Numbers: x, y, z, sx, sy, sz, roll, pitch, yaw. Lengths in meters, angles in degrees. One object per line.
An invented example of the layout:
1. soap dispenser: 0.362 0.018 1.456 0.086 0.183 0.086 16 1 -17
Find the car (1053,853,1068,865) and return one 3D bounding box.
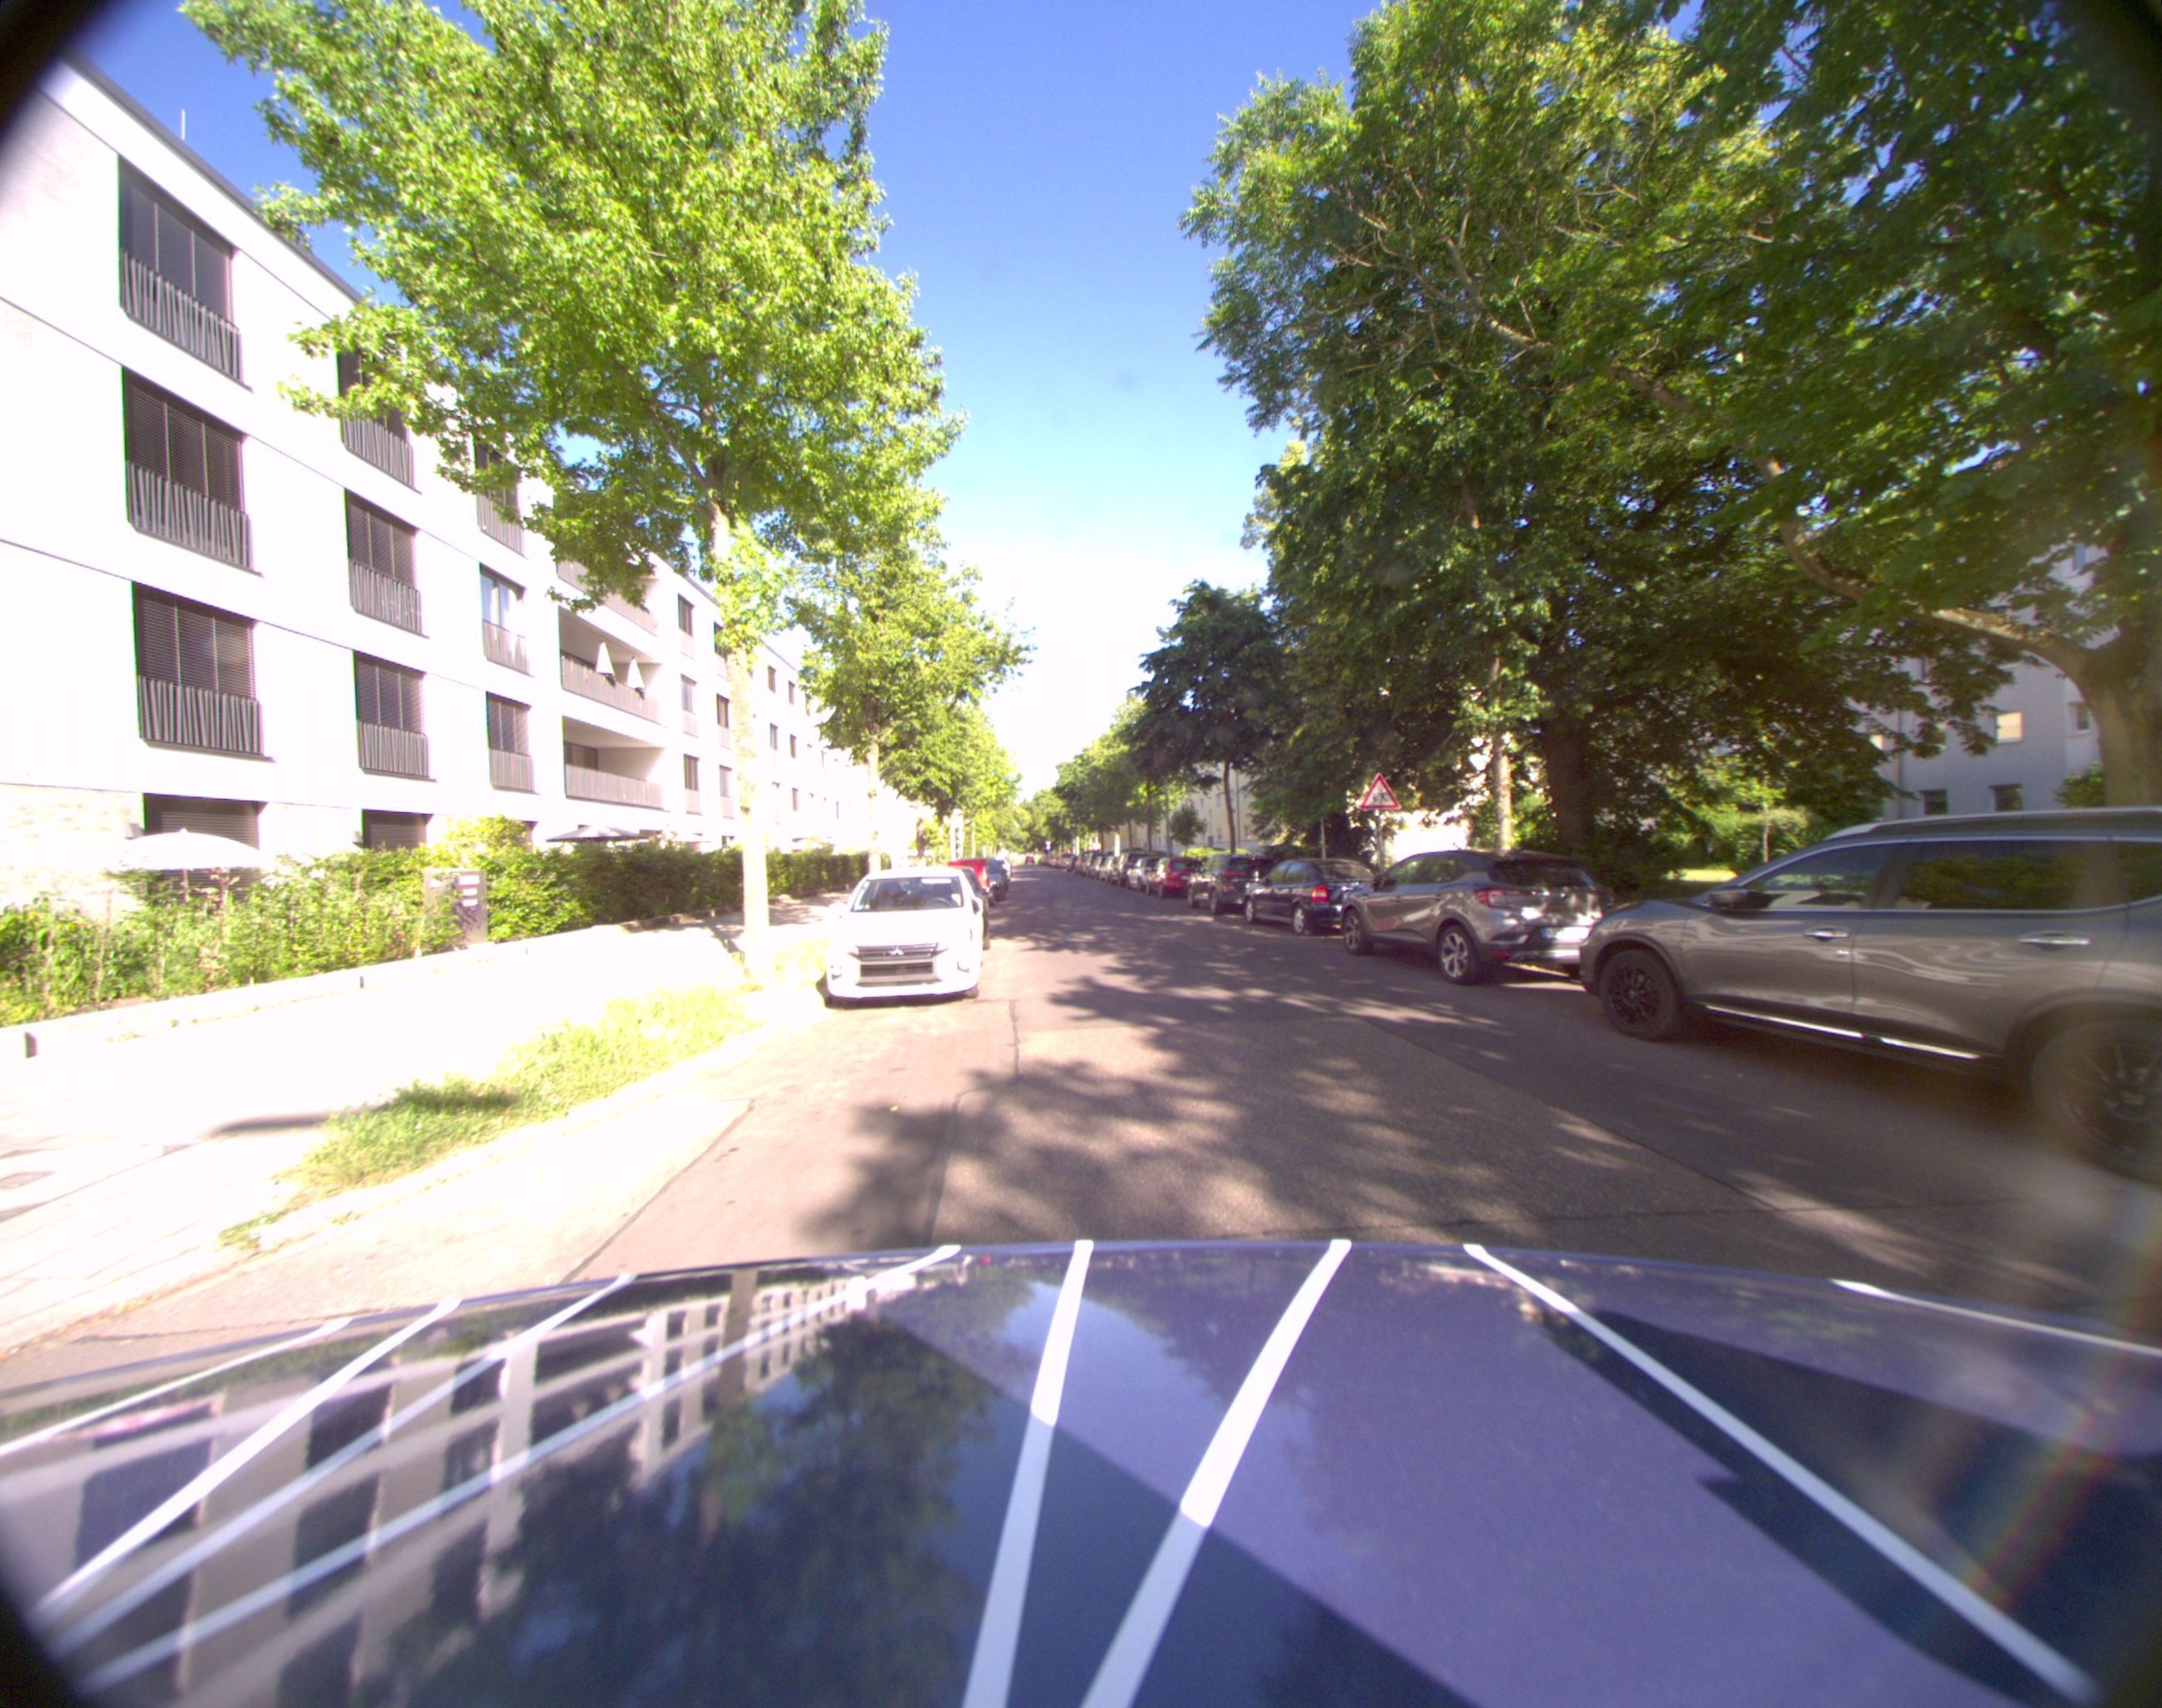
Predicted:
1. car: -2.584 0.567 94.811 1.606 1.382 3.810 -2 0 -5

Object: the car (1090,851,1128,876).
1. car: 1.697 0.566 47.849 1.799 1.443 4.486 -1 0 -6

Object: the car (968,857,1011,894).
1. car: -4.197 0.951 35.400 1.723 1.508 4.342 -3 0 -4

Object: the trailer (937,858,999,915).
1. trailer: -3.582 0.991 24.588 1.579 1.569 3.190 -4 1 -3

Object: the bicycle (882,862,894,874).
1. bicycle: -14.286 1.031 56.329 0.564 0.889 1.609 -2 0 -5

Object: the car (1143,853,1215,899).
1. car: 3.469 0.731 27.702 1.659 1.496 4.066 -1 0 -6

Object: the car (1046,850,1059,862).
1. car: -4.389 0.317 116.531 1.714 1.752 3.710 -2 1 -6

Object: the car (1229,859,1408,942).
1. car: 4.553 0.814 15.361 1.790 1.344 4.478 -1 0 -7

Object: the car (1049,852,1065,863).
1. car: -3.326 0.487 106.246 1.806 1.470 3.997 -2 0 -8

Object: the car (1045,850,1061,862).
1. car: -4.146 0.286 111.623 1.892 1.797 3.912 -2 1 -9

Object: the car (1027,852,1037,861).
1. car: -8.582 0.470 132.173 1.666 1.456 3.446 -1 0 -4

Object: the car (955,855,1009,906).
1. car: -3.726 0.930 29.244 1.798 1.634 4.816 -4 1 -6

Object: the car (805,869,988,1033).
1. car: -2.094 1.007 9.680 1.738 1.478 4.006 -3 1 -7

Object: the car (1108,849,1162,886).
1. car: 2.581 0.618 37.566 1.847 1.647 5.084 -1 0 -6

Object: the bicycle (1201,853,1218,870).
1. bicycle: 8.020 0.458 47.407 0.574 1.055 1.932 -3 1 -4

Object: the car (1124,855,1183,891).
1. car: 3.006 0.766 32.309 1.659 1.365 4.186 -1 0 -6

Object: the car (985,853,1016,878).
1. car: -5.811 0.779 55.485 1.902 1.638 4.860 -3 0 -3

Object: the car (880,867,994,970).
1. car: -2.533 1.057 14.228 1.675 1.442 4.176 -4 1 -6

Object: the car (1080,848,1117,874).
1. car: 1.175 0.470 53.524 1.799 1.676 4.523 -1 0 -8

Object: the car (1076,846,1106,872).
1. car: 0.711 0.364 58.660 1.799 1.839 4.864 -1 0 -5

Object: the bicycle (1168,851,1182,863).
1. bicycle: 7.430 0.226 60.140 0.596 0.911 1.902 -1 0 -6

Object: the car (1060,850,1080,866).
1. car: -1.204 0.426 81.199 1.865 1.718 3.998 0 0 -4

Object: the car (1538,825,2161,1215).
1. car: 5.372 0.694 4.730 1.773 1.678 4.811 -1 0 -6

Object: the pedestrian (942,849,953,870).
1. pedestrian: -13.105 0.565 74.748 0.908 2.002 1.005 -1 1 -5

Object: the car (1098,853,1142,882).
1. car: 2.147 0.725 42.850 1.712 1.472 4.487 -1 0 -6

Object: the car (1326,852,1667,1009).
1. car: 4.965 0.765 9.949 1.774 1.522 4.417 -2 0 -4

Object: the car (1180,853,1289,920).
1. car: 3.998 0.775 20.542 1.711 1.568 4.479 -1 0 -4

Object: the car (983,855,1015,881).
1. car: -5.399 0.862 49.641 1.787 1.509 4.683 -3 0 -9

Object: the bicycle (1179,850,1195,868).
1. bicycle: 7.508 0.345 54.040 0.596 1.183 2.259 -1 0 -6

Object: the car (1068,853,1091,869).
1. car: -0.150 0.610 69.474 1.781 1.462 4.061 1 0 -5
